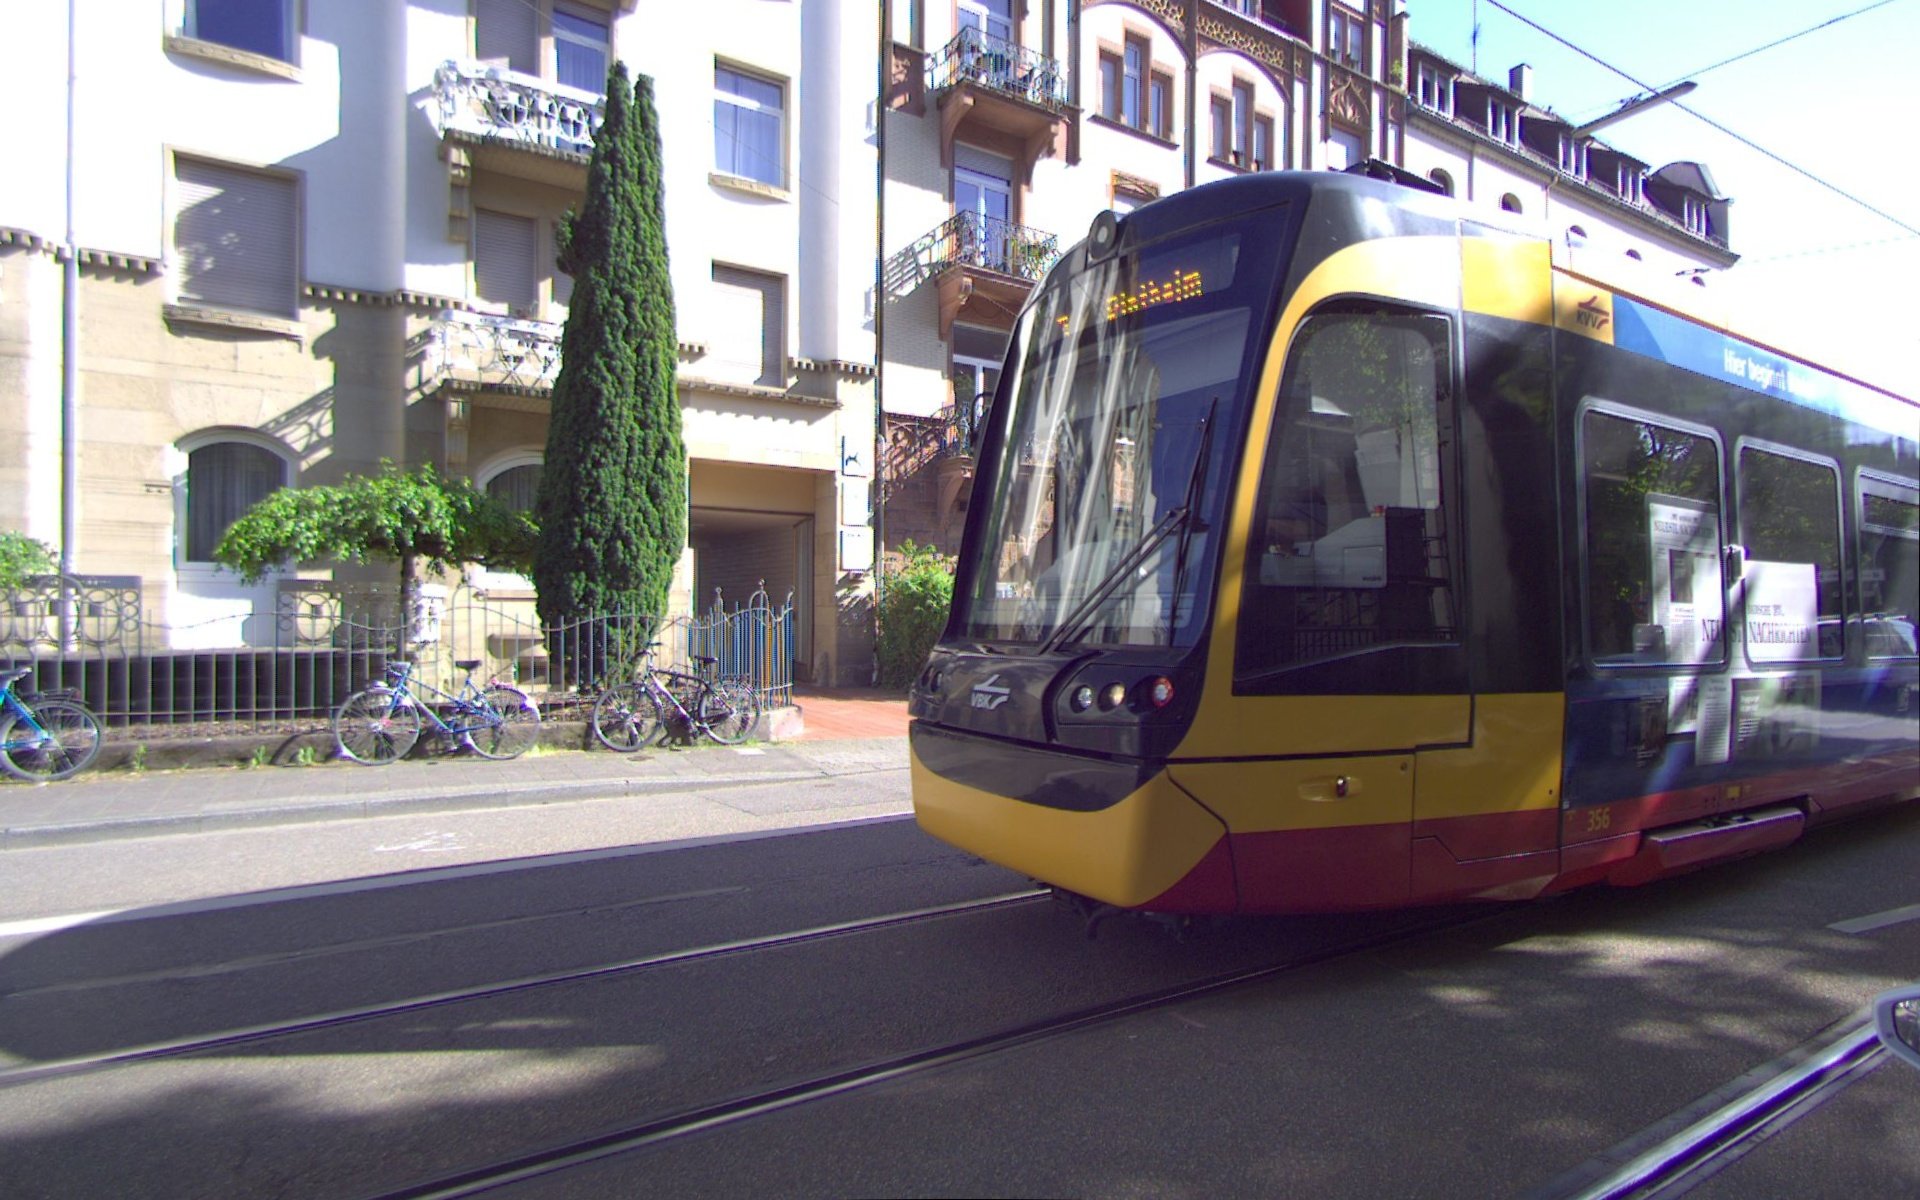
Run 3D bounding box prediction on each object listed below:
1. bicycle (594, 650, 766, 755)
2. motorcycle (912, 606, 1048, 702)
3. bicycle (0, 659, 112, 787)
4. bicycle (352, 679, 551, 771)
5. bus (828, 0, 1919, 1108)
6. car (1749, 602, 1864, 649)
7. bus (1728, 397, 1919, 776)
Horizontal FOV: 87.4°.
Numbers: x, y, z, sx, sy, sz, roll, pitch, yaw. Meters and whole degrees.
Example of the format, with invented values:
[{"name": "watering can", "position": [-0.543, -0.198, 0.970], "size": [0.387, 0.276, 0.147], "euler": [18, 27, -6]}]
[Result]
[{"name": "bicycle", "position": [-3.003, 1.079, 10.844], "size": [1.728, 1.053, 0.402], "euler": [2, 0, -31]}, {"name": "motorcycle", "position": [0.276, 0.885, 17.626], "size": [0.814, 1.476, 3.067], "euler": [2, 0, -32]}, {"name": "bicycle", "position": [-7.705, 0.945, 7.737], "size": [1.728, 0.955, 0.402], "euler": [2, 0, -31]}, {"name": "bicycle", "position": [-4.759, 1.150, 9.459], "size": [1.633, 0.772, 0.316], "euler": [2, 0, -31]}, {"name": "bus", "position": [4.865, -0.276, 7.250], "size": [11.373, 3.827, 2.843], "euler": [2, 0, -33]}, {"name": "car", "position": [39.800, 1.170, 47.351], "size": [1.961, 2.040, 3.999], "euler": [2, 0, -1]}, {"name": "bus", "position": [14.228, 0.010, 13.282], "size": [11.062, 3.827, 2.843], "euler": [2, 0, -33]}]
